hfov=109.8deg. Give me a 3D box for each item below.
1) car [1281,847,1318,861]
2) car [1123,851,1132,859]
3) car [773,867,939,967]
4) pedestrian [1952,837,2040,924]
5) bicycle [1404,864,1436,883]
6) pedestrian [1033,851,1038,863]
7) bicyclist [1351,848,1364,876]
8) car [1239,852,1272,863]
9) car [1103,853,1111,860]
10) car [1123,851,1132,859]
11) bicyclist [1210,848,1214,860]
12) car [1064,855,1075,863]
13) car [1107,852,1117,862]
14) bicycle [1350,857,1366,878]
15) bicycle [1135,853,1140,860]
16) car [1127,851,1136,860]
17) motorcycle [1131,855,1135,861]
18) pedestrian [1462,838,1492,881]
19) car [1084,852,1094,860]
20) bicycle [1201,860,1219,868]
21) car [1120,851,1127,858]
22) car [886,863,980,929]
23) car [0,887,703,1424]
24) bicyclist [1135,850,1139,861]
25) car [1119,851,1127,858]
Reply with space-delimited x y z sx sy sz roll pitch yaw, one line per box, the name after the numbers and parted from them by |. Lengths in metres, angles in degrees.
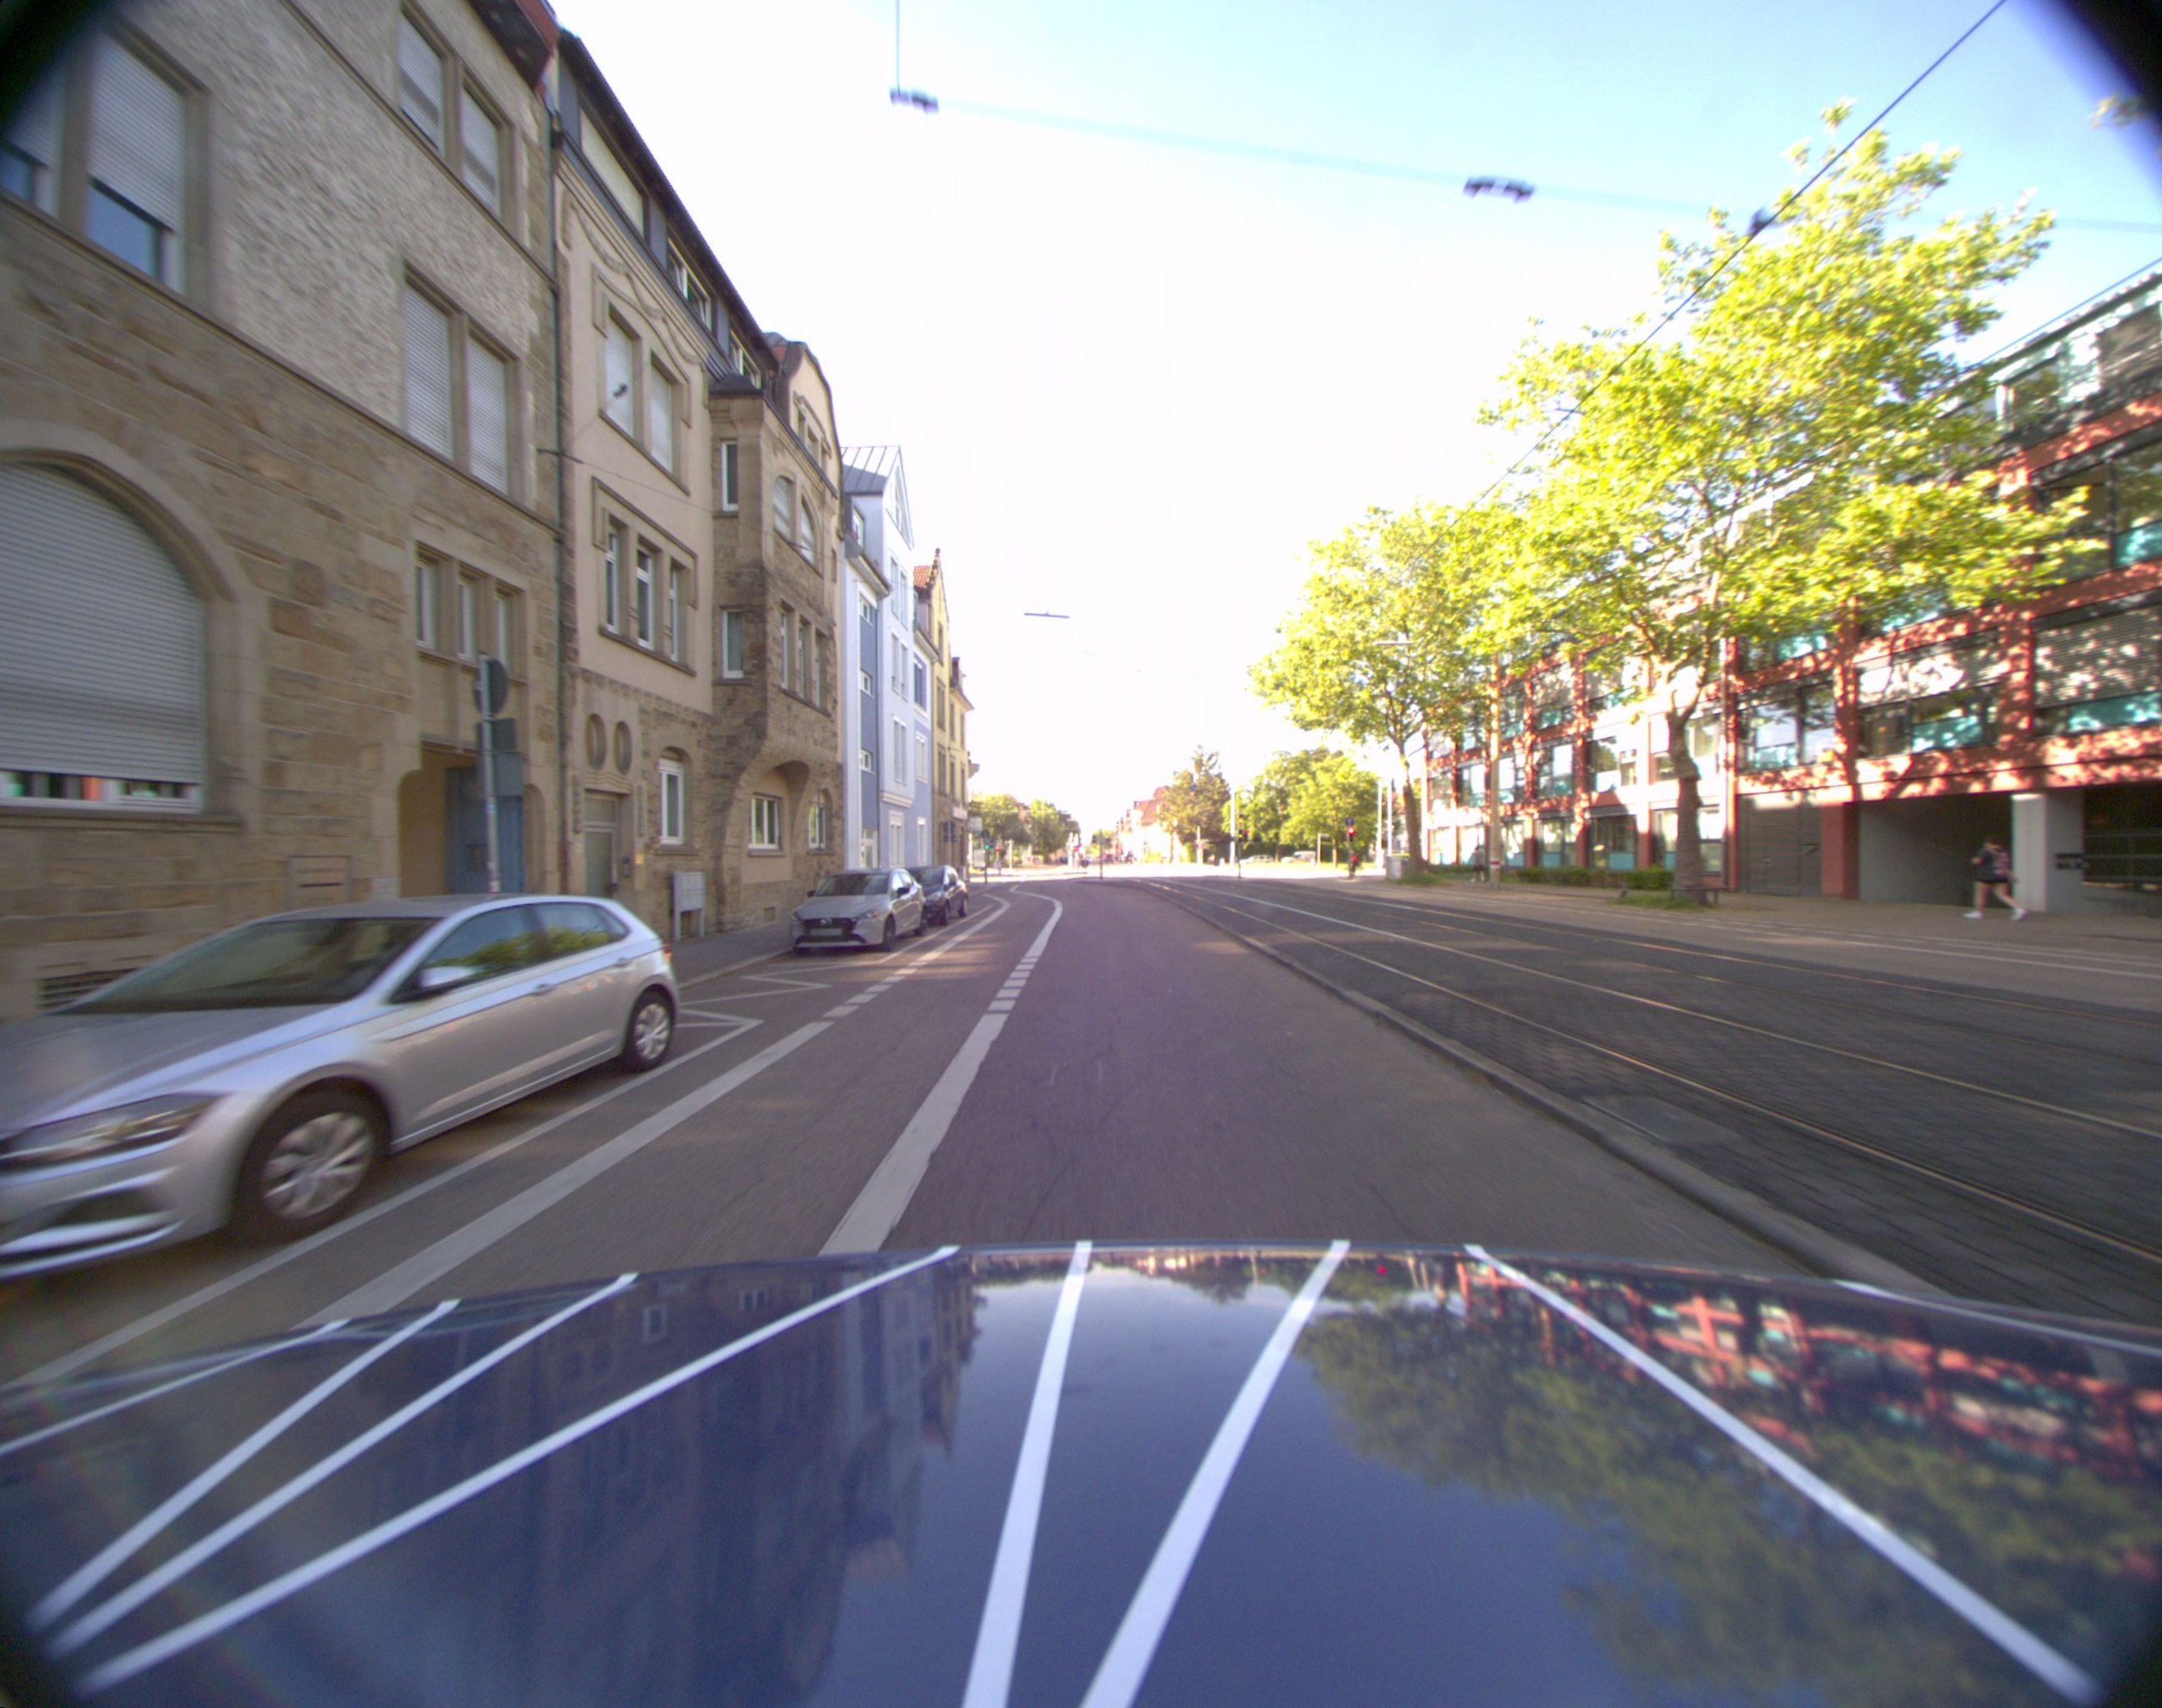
28.475 0.002 99.042 4.311 1.856 1.817 0 0 3 | car
10.849 0.310 179.150 1.924 1.705 4.000 -3 0 1 | car
-4.125 1.088 14.686 1.757 1.492 4.196 -2 0 2 | car
18.634 0.531 15.492 0.627 1.708 0.900 -3 0 0 | pedestrian
17.235 0.972 38.635 0.522 0.901 1.541 -1 1 -23 | bicycle
-6.770 0.435 113.155 0.655 1.664 0.943 1 0 3 | pedestrian
16.828 0.475 46.188 0.605 1.682 0.934 -2 0 26 | bicyclist
22.209 0.437 96.799 3.995 1.425 1.817 -1 0 7 | car
7.285 0.699 208.791 1.923 1.705 4.001 -3 0 5 | car
10.598 0.299 173.072 1.924 1.705 4.000 -3 0 2 | car
16.870 -0.019 97.807 0.559 1.613 0.899 0 1 9 | bicyclist
-2.430 0.934 155.793 1.704 1.541 4.002 -3 0 6 | car
6.900 0.666 166.569 2.024 2.001 5.253 1 -1 4 | car
16.839 0.792 46.187 0.632 1.123 2.038 -3 2 26 | bicycle
9.115 0.474 121.744 0.588 1.107 1.826 0 0 -2 | bicycle
10.504 0.328 158.192 1.923 1.890 4.001 -3 0 3 | car
9.780 0.698 143.565 0.605 1.040 2.438 -2 0 3 | motorcycle
18.829 0.263 36.176 0.913 2.002 0.780 -3 0 -8 | pedestrian
1.814 0.415 166.510 1.923 1.705 4.001 -3 0 3 | car
16.637 1.279 97.860 2.284 1.111 0.930 0 0 9 | bicycle
11.729 0.155 209.184 1.924 1.705 4.001 -3 0 2 | car
-3.816 1.040 20.223 1.659 1.474 4.000 -2 0 1 | car
-4.212 1.071 4.495 1.718 1.492 4.226 -2 0 1 | car
8.973 0.193 121.879 0.588 1.701 0.901 0 0 -2 | bicyclist
10.812 0.137 194.174 1.923 1.555 4.001 -3 0 5 | car
